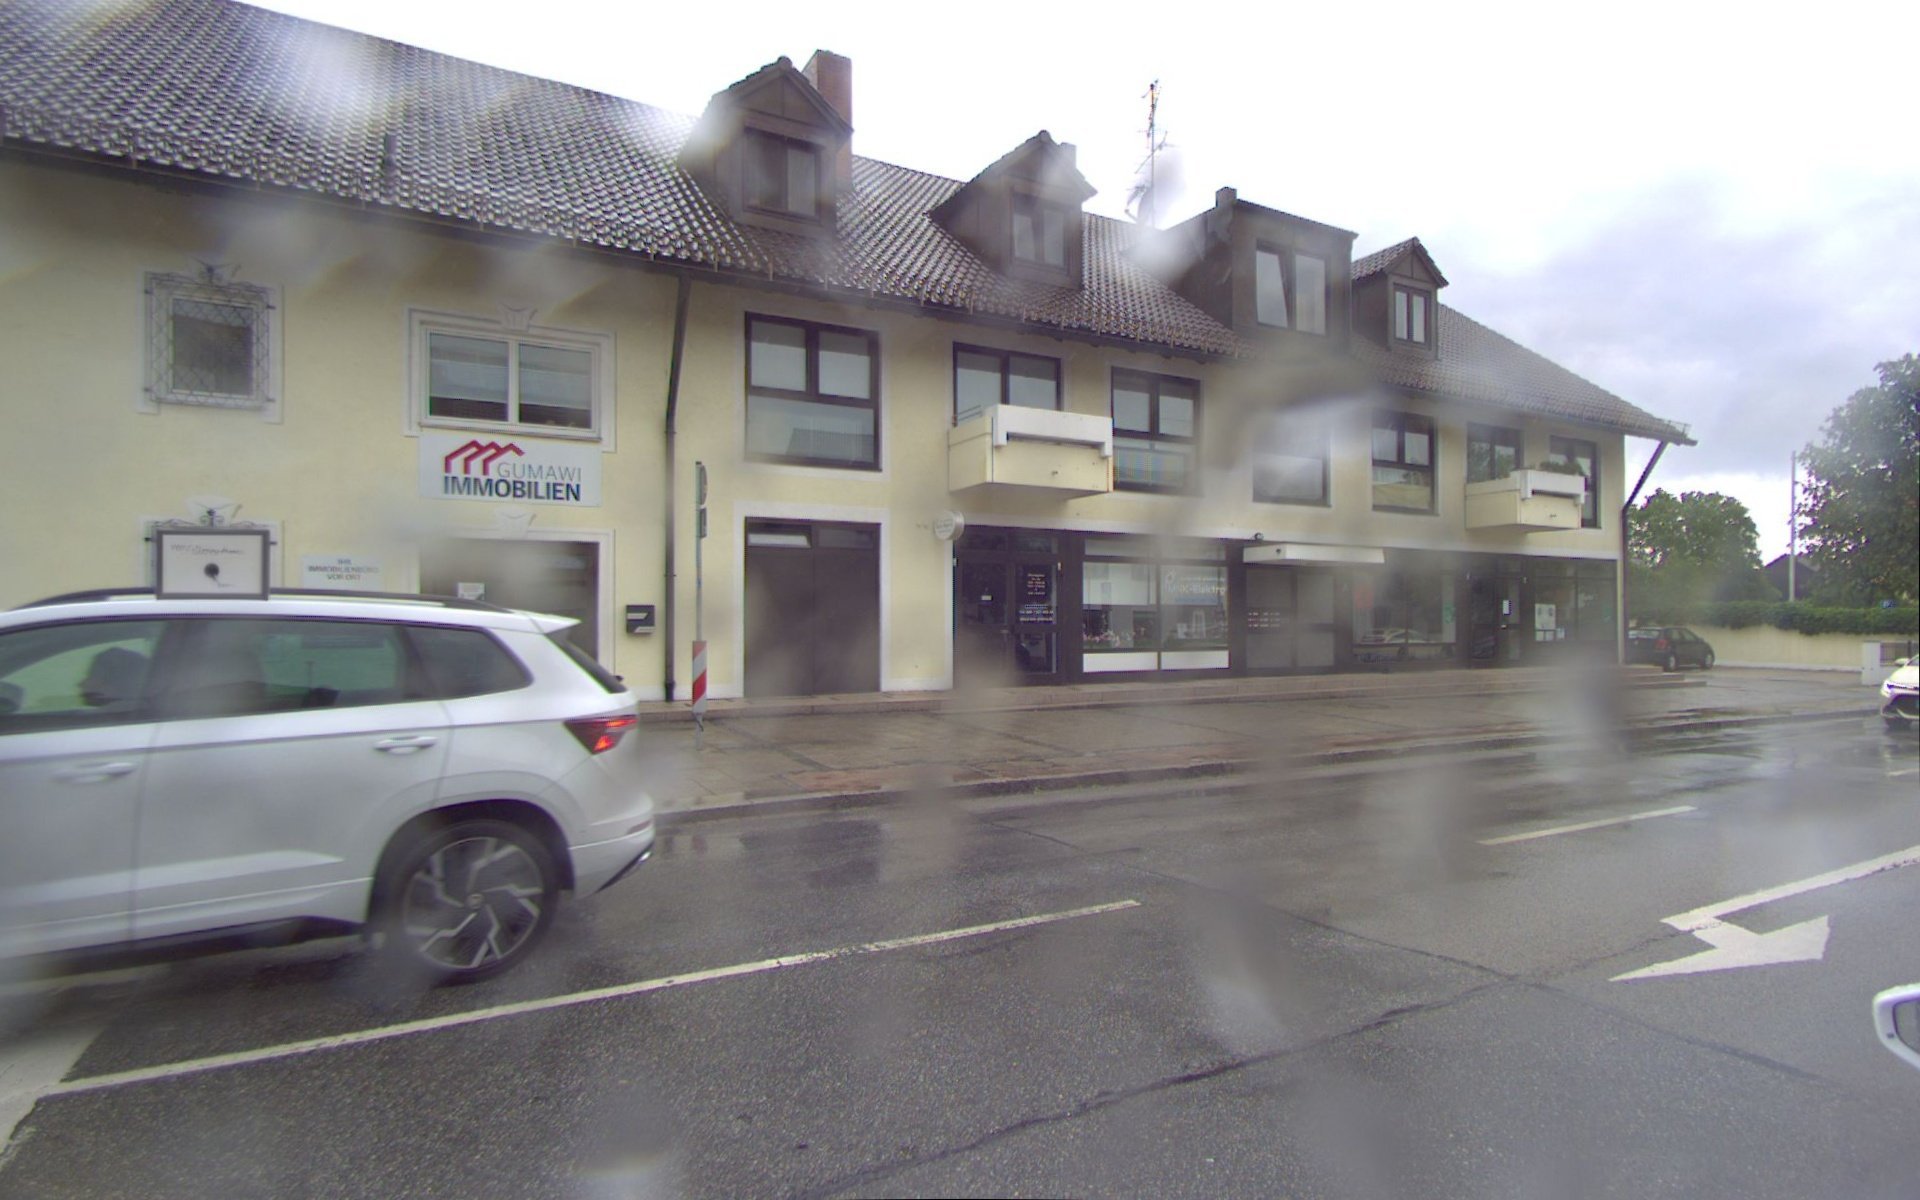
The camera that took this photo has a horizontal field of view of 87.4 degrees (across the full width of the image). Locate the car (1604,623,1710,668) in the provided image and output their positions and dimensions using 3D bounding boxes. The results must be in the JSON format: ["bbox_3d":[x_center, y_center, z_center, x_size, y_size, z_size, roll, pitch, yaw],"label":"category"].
[{"bbox_3d":[23.102,1.498,33.284,3.468,1.398,1.599,1,-2,-31],"label":"car"}]

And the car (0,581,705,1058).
[{"bbox_3d":[-3.396,0.758,4.356,4.079,1.587,1.917,1,-2,-31],"label":"car"}]

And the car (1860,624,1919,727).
[{"bbox_3d":[16.218,1.151,15.855,4.179,1.531,1.745,1,-3,-29],"label":"car"}]
